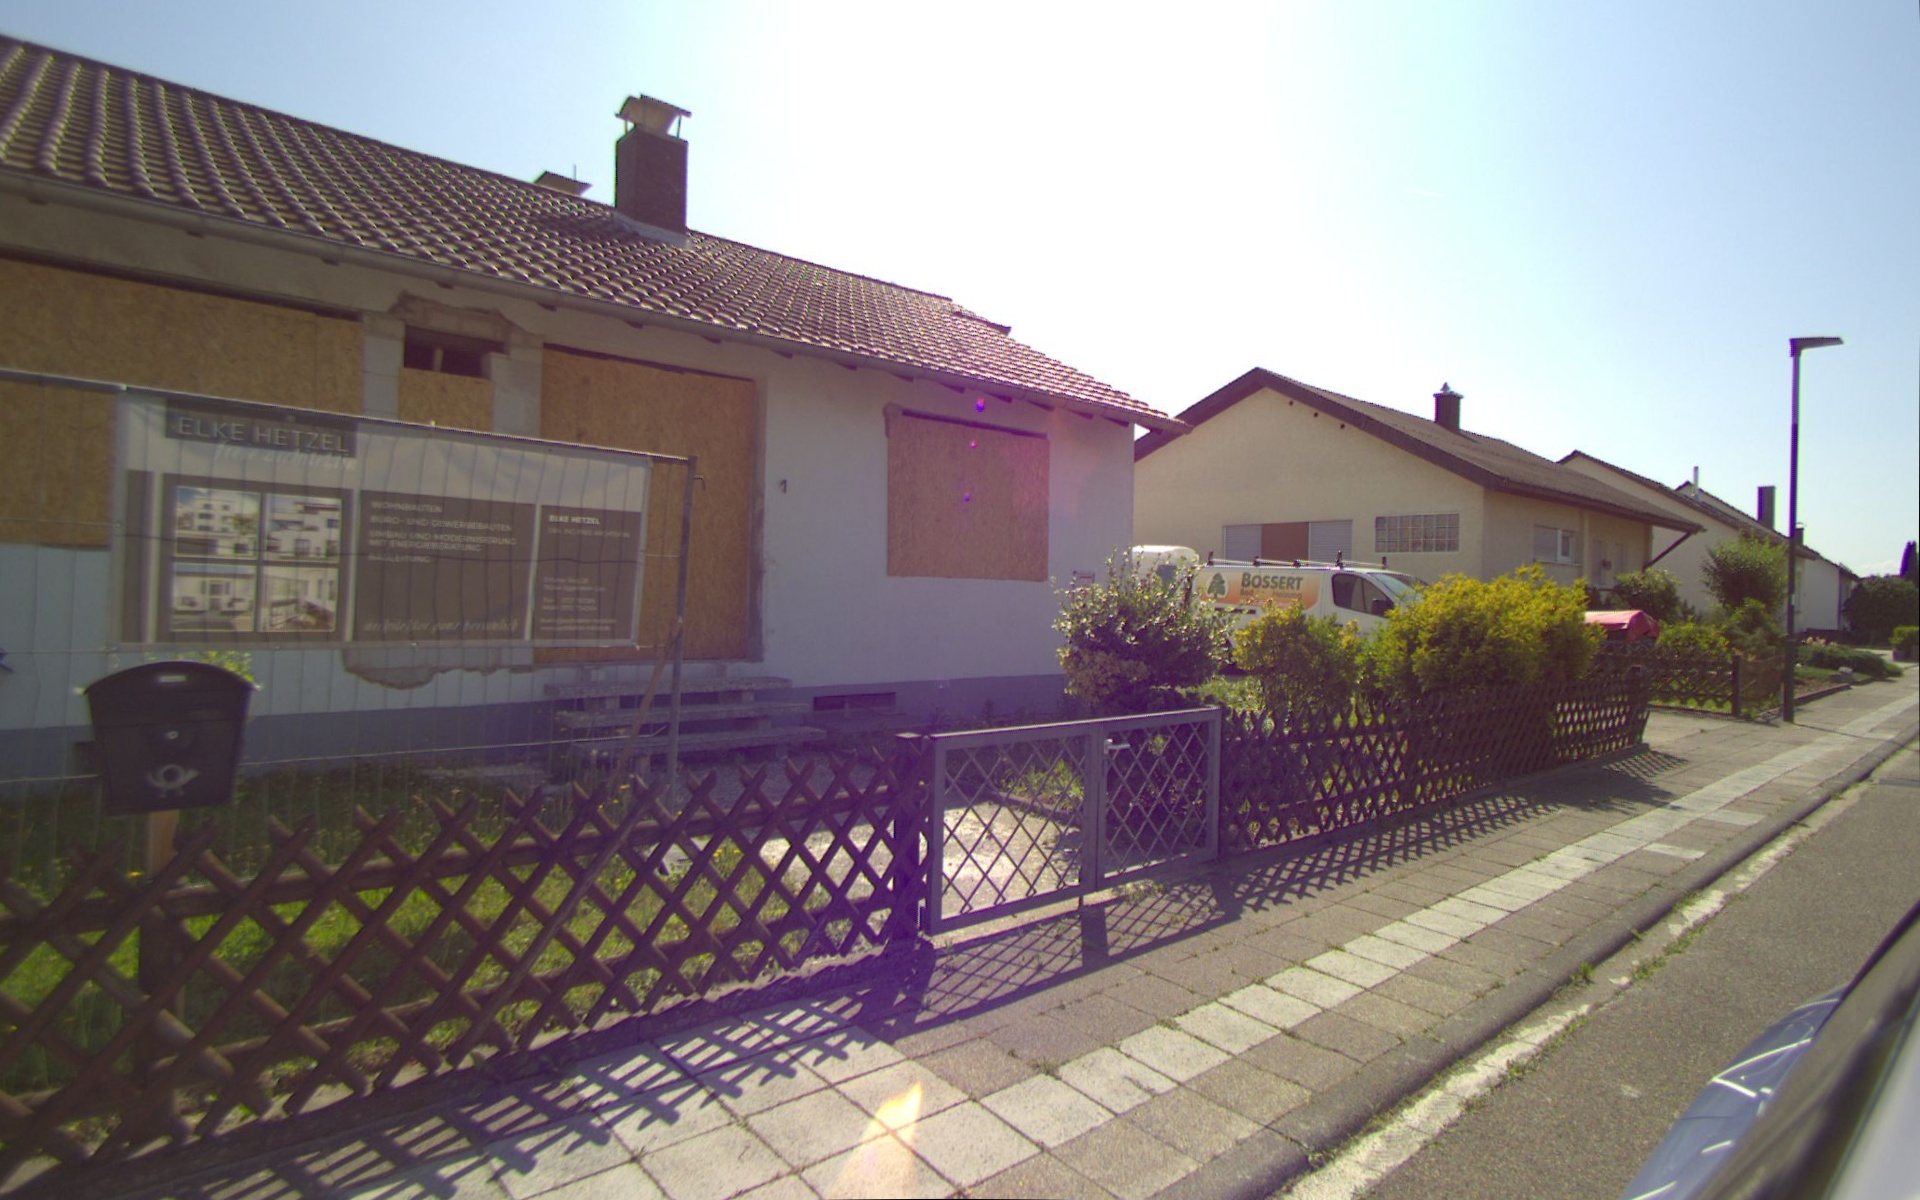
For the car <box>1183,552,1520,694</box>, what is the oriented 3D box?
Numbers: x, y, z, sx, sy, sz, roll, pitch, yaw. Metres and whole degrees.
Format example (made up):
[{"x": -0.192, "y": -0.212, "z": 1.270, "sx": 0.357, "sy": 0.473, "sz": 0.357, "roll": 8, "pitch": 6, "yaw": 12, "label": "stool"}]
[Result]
[{"x": 6.348, "y": 0.270, "z": 16.985, "sx": 1.834, "sy": 2.039, "sz": 5.008, "roll": 1, "pitch": 1, "yaw": -39, "label": "car"}]
